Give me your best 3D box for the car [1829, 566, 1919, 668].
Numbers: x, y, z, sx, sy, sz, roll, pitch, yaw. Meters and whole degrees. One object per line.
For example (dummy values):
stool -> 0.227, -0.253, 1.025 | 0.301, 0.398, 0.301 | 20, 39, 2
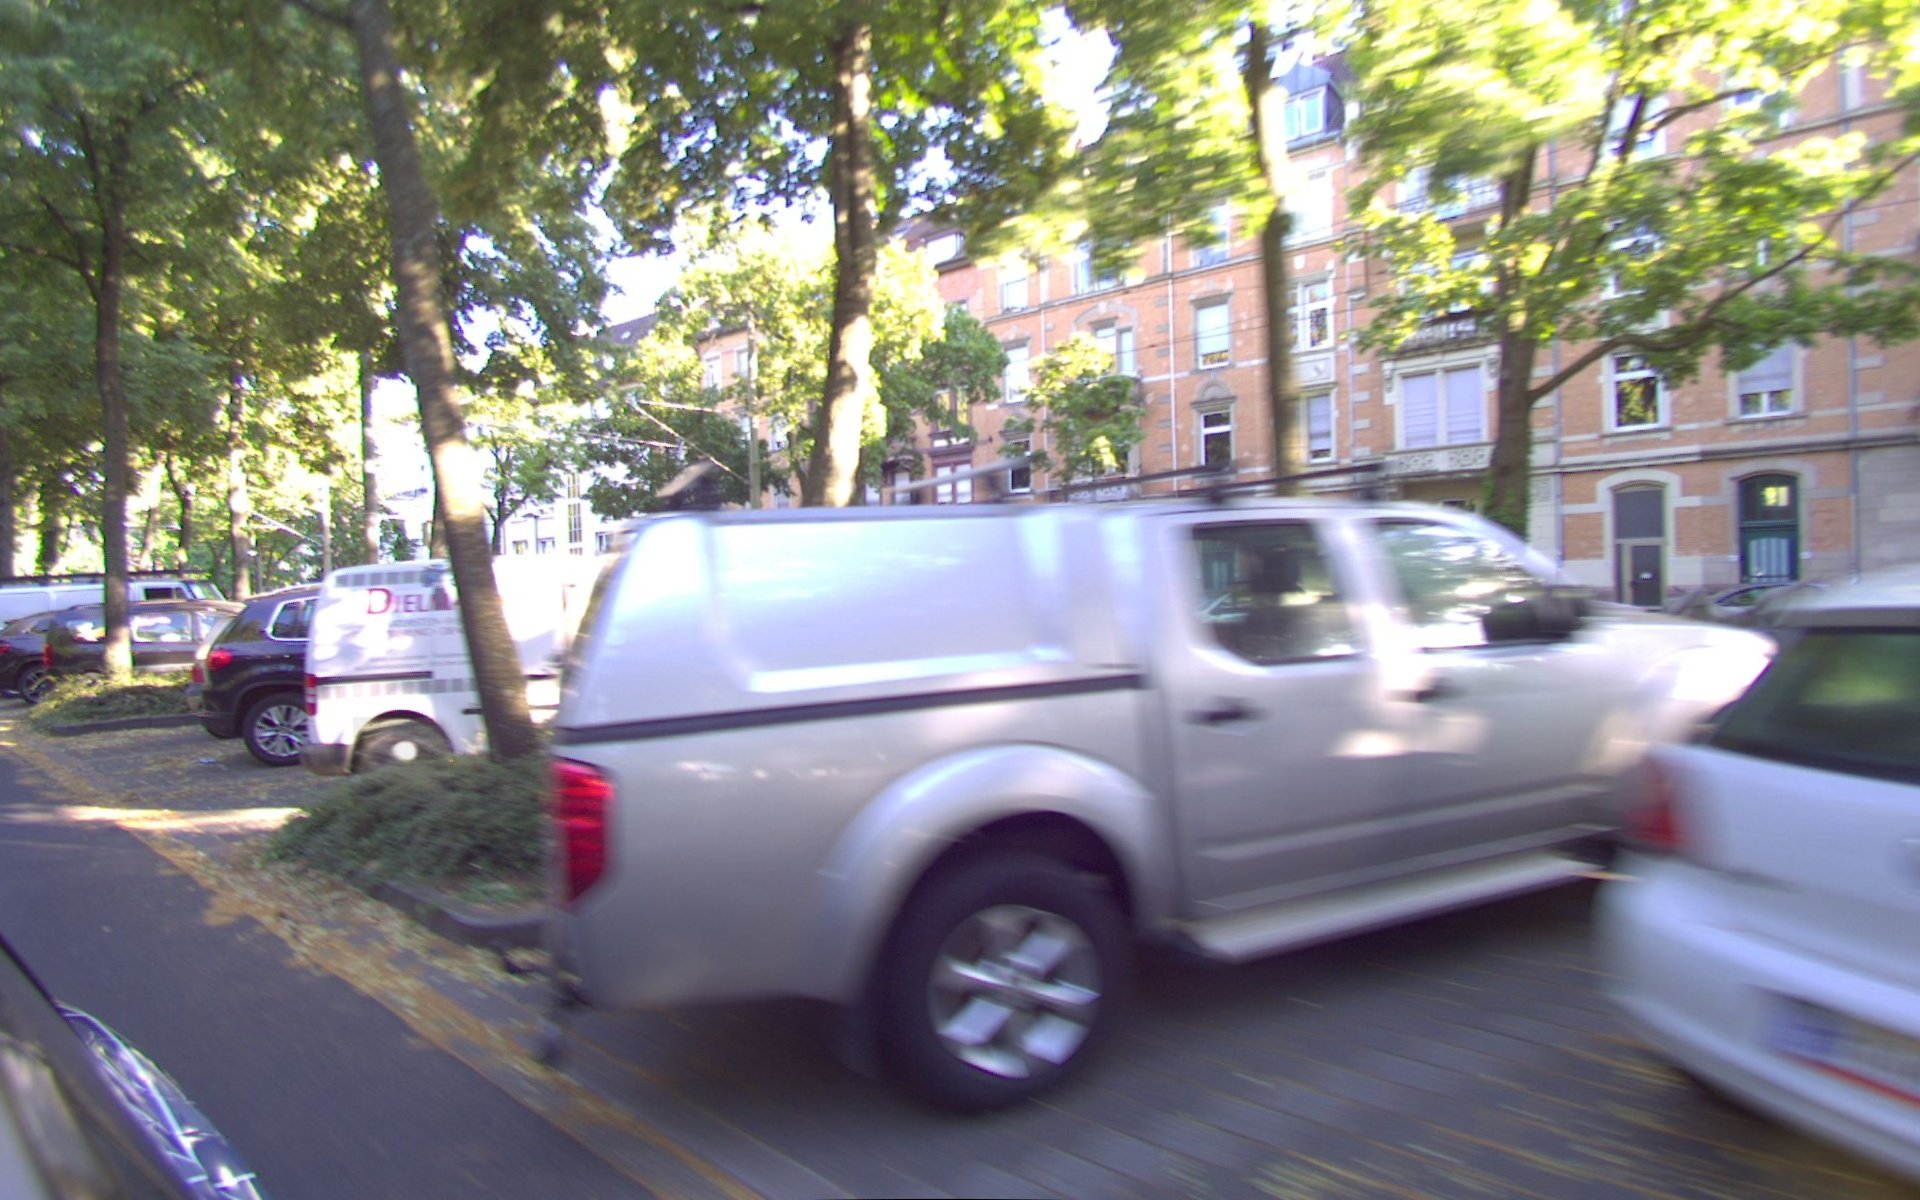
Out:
car -> 14.815, 0.191, 14.646 | 3.674, 1.391, 1.713 | -1, 0, -19

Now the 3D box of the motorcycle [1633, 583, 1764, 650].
motorcycle -> 11.587, 0.247, 15.880 | 1.698, 0.962, 1.023 | -1, 0, -29

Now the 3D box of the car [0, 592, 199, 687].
car -> -21.533, 0.947, 24.355 | 4.634, 1.957, 1.941 | -4, 2, -17

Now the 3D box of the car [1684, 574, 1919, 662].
car -> 18.566, 0.395, 22.431 | 3.994, 1.789, 1.777 | -2, -1, 38

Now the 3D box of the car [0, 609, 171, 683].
car -> -23.520, 1.207, 26.108 | 4.494, 1.552, 1.941 | -4, 2, -17

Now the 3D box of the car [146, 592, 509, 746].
car -> -7.526, 0.745, 12.455 | 3.369, 1.436, 1.840 | -4, 2, -18

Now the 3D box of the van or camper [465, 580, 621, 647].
van or camper -> -16.494, 0.506, 40.111 | 5.579, 2.487, 2.006 | -1, -1, -26

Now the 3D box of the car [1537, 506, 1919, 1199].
car -> 3.656, 0.433, 2.375 | 4.089, 1.470, 1.777 | -4, 2, -21

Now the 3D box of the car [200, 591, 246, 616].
car -> -62.416, 0.301, 85.725 | 3.991, 2.029, 1.976 | -2, -1, 36

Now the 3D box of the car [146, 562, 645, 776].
car -> -5.462, 0.572, 10.459 | 4.090, 1.656, 1.921 | -4, 2, -16

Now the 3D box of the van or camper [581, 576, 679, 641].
van or camper -> -16.681, 0.501, 51.028 | 5.508, 3.133, 2.054 | -2, -3, 39

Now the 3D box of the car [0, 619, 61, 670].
car -> -31.132, 1.505, 31.855 | 3.760, 1.449, 1.831 | -4, 2, -16

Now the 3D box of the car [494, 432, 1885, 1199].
car -> 0.972, 0.399, 4.011 | 4.916, 1.794, 1.994 | -4, 2, -22

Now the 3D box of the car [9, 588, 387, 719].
car -> -12.079, 0.771, 16.430 | 4.443, 1.628, 1.860 | -4, 2, -17

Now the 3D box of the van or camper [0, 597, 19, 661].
van or camper -> -40.481, 1.309, 39.598 | 4.802, 2.488, 2.052 | -4, 2, -23

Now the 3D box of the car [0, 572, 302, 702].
car -> -16.761, 0.693, 20.379 | 5.420, 2.152, 2.088 | -4, 2, -20

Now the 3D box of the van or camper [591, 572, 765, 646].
van or camper -> -9.658, 0.277, 34.670 | 5.455, 2.389, 2.315 | -1, -1, -23

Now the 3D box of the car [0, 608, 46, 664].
car -> -37.745, 1.471, 37.826 | 4.802, 1.992, 2.052 | -4, 2, -21

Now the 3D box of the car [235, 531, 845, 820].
car -> -3.154, 0.473, 8.352 | 4.092, 1.794, 1.889 | -4, 2, -12

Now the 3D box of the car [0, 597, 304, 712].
car -> -14.794, 0.914, 18.438 | 4.442, 1.628, 1.941 | -5, 2, -26
